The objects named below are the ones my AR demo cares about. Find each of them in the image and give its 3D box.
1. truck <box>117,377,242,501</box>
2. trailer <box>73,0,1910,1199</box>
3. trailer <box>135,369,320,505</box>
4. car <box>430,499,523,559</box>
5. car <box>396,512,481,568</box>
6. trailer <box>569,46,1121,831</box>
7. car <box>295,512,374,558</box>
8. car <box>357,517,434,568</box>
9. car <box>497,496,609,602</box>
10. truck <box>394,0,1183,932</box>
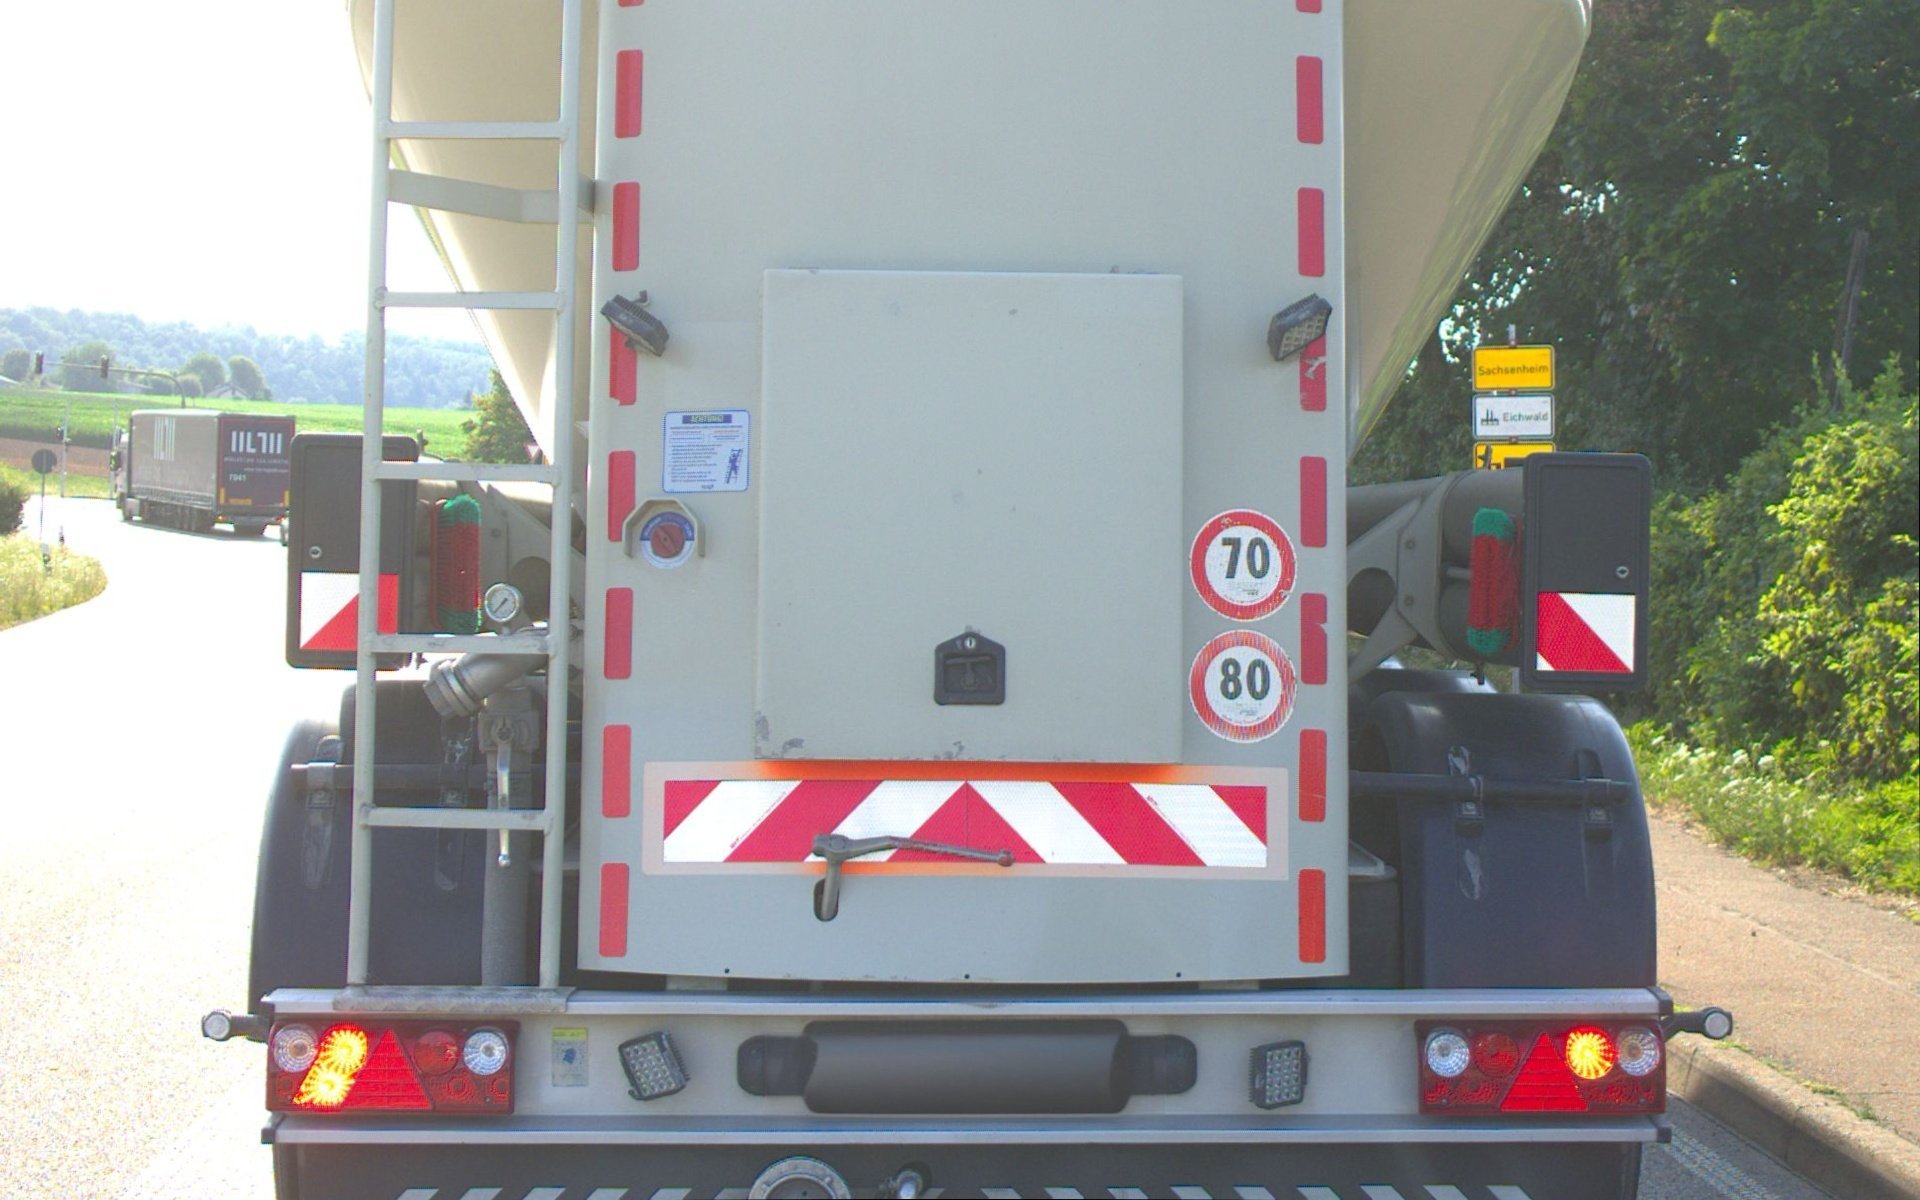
[{"bbox_3d":[-28.848,-5.901,126.909,3.375,4.335,5.707,2,1,-24],"label":"truck"},{"bbox_3d":[-0.359,-0.703,10.399,2.909,3.992,9.932,1,1,-5],"label":"trailer"},{"bbox_3d":[-25.634,-5.581,119.548,3.375,4.335,14.297,2,1,-24],"label":"trailer"},{"bbox_3d":[-11.475,-1.688,81.500,1.580,1.336,3.427,2,1,-18],"label":"car"},{"bbox_3d":[-13.312,-1.544,87.695,1.580,1.336,3.427,2,1,-18],"label":"car"},{"bbox_3d":[-0.701,-1.047,26.368,2.955,4.300,14.176,2,1,0],"label":"trailer"},{"bbox_3d":[-18.594,-1.931,102.140,1.769,1.201,3.427,-5,3,-18],"label":"car"},{"bbox_3d":[-15.742,-1.618,95.819,1.580,1.336,3.427,2,1,-18],"label":"car"},{"bbox_3d":[-7.977,-1.012,67.161,1.861,2.007,3.720,1,1,-11],"label":"car"},{"bbox_3d":[-0.773,-0.797,14.875,2.909,3.992,4.060,1,1,-4],"label":"truck"}]
